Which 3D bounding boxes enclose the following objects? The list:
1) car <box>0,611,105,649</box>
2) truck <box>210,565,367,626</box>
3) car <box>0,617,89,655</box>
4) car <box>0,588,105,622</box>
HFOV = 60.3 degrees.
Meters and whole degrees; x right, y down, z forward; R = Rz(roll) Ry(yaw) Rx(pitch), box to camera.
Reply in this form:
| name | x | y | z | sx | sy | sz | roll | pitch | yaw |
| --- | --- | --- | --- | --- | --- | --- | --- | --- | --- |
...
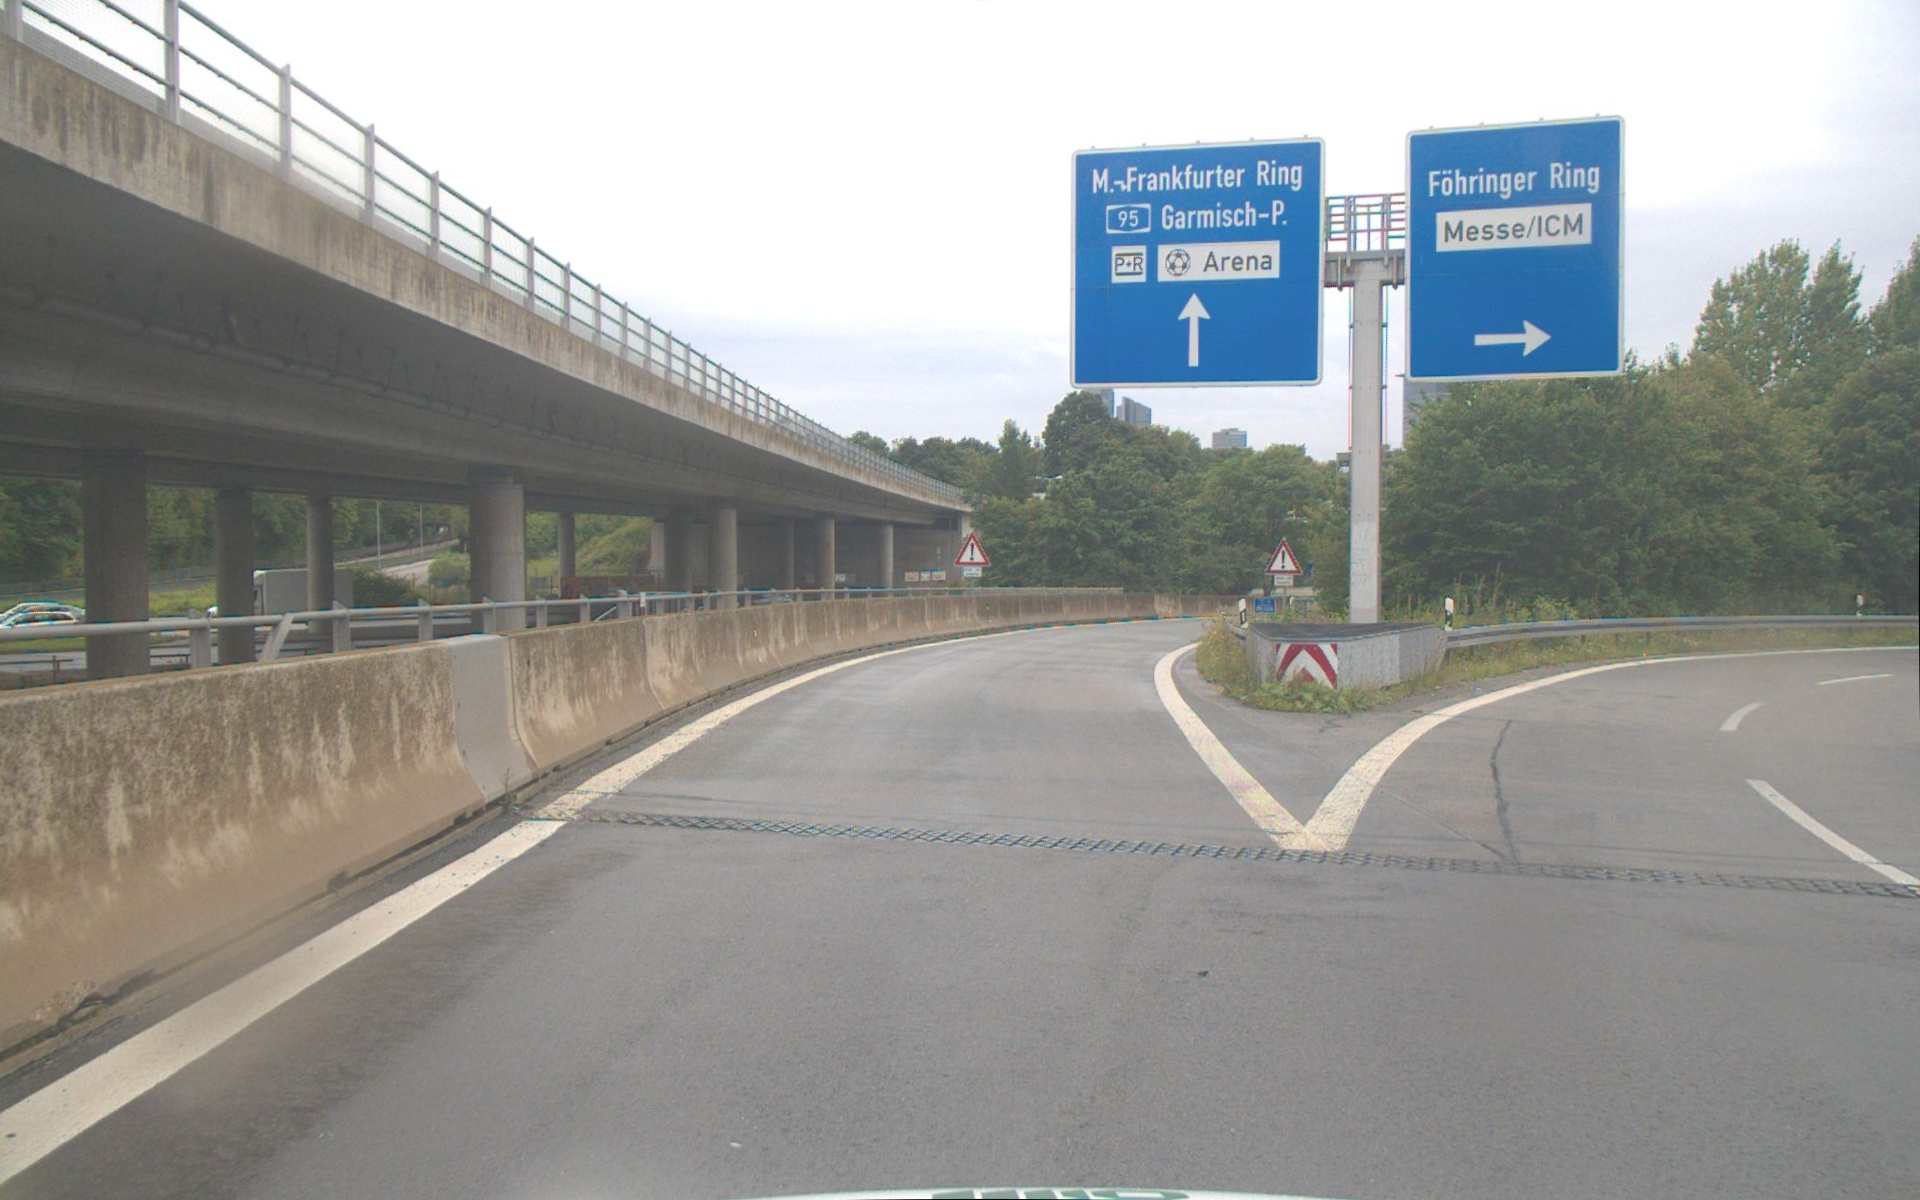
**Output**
| name | x | y | z | sx | sy | sz | roll | pitch | yaw |
| --- | --- | --- | --- | --- | --- | --- | --- | --- | --- |
| car | -43.029 | 1.393 | 78.083 | 4.540 | 1.611 | 1.950 | -1 | 1 | -36 |
| truck | -34.232 | -0.196 | 84.445 | 7.146 | 3.029 | 2.233 | 0 | 0 | -34 |
| car | -42.234 | 1.628 | 75.077 | 4.545 | 1.611 | 1.948 | -1 | 1 | -39 |
| car | -45.991 | 0.227 | 83.811 | 4.536 | 1.611 | 1.952 | -1 | 1 | -34 |
